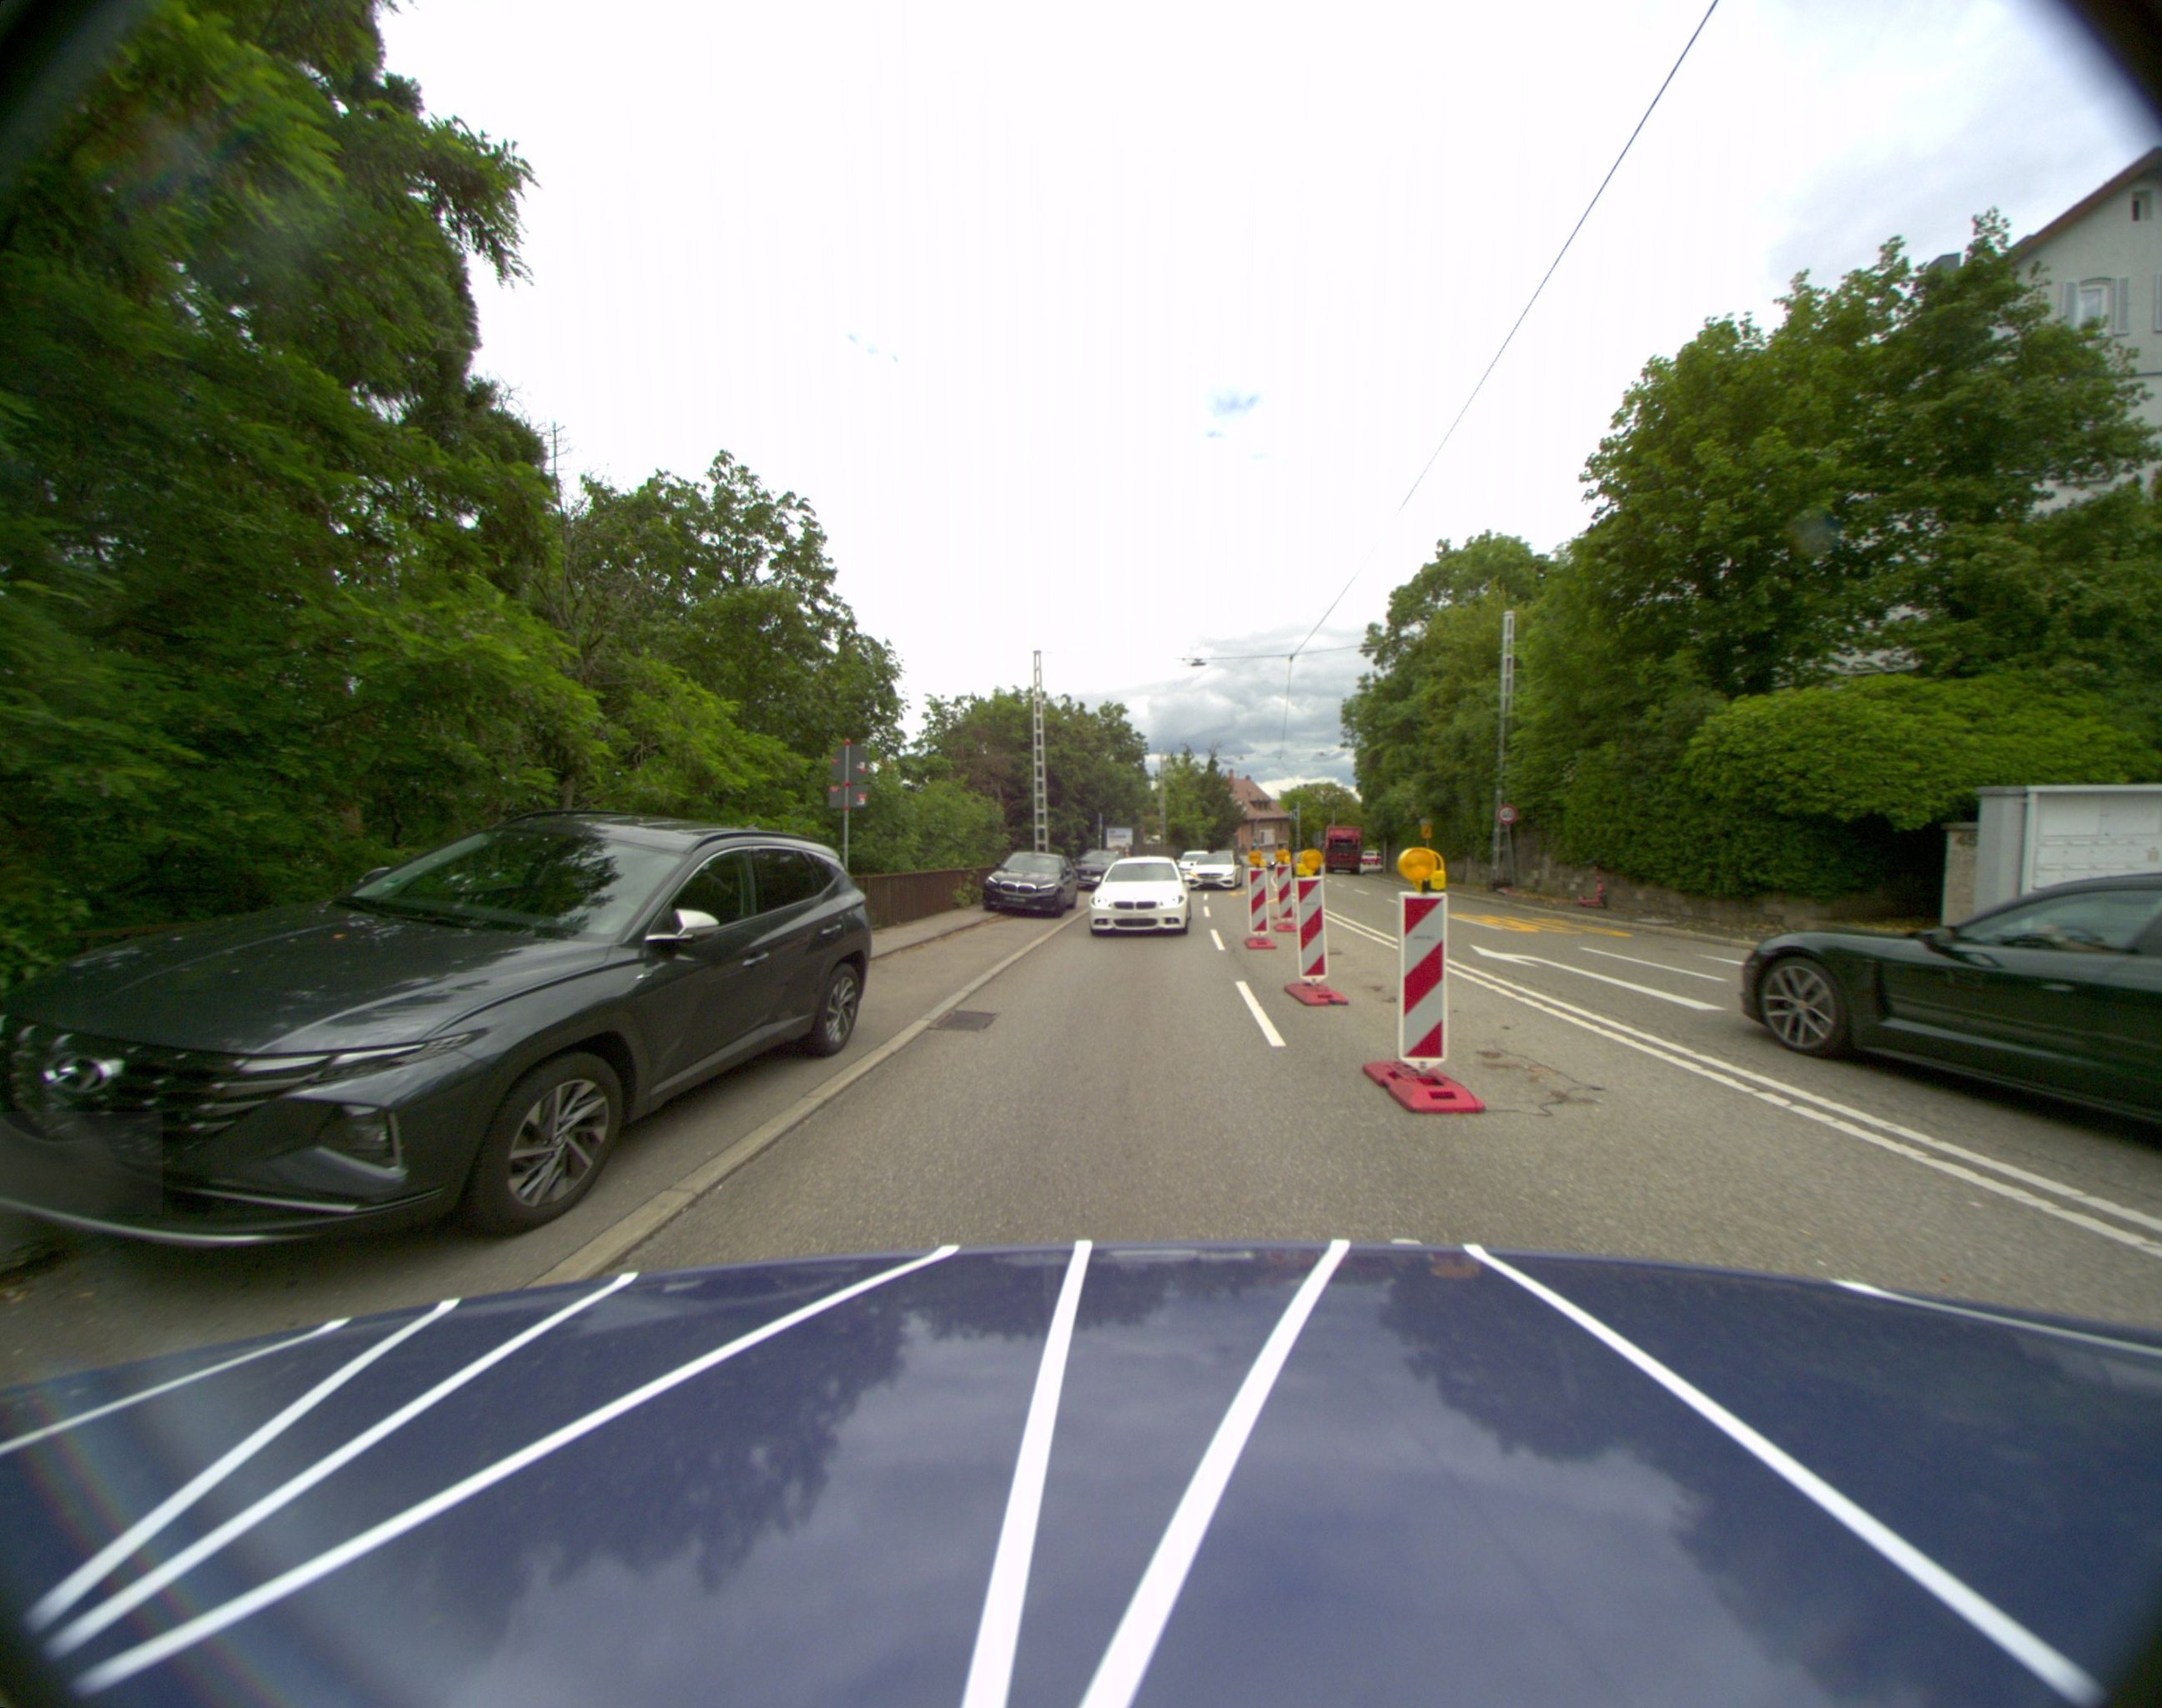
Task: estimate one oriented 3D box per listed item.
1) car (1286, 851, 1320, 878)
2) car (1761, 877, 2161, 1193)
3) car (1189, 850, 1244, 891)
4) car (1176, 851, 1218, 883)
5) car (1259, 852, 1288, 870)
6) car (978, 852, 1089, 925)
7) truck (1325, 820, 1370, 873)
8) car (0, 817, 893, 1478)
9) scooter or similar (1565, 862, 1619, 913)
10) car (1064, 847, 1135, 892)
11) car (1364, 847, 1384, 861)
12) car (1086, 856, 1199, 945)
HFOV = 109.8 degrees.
[{"bbox_3d":[12.863,0.549,44.148,1.716,1.453,4.004,1,1,14],"label":"car"},{"bbox_3d":[5.920,0.890,3.487,1.825,1.383,4.439,1,0,4],"label":"car"},{"bbox_3d":[5.535,0.624,30.688,1.790,1.472,4.249,0,1,15],"label":"car"},{"bbox_3d":[6.186,0.651,40.246,1.790,1.542,4.249,-1,0,14],"label":"car"},{"bbox_3d":[16.494,0.567,64.987,1.789,1.472,4.251,-1,0,23],"label":"car"},{"bbox_3d":[-1.024,0.741,18.796,1.857,1.427,4.234,5,1,8],"label":"car"},{"bbox_3d":[20.844,-0.559,59.349,2.862,3.677,9.672,3,1,20],"label":"truck"},{"bbox_3d":[-2.811,0.758,4.259,1.857,1.664,4.281,5,1,8],"label":"car"},{"bbox_3d":[12.840,0.820,19.111,0.429,1.202,1.281,-3,1,-2],"label":"scooter or similar"},{"bbox_3d":[0.815,0.547,29.695,1.856,1.525,4.236,3,1,14],"label":"car"},{"bbox_3d":[41.076,0.046,106.490,1.991,1.895,4.253,2,1,29],"label":"car"},{"bbox_3d":[1.406,0.830,15.613,1.790,1.472,4.248,0,1,12],"label":"car"}]
